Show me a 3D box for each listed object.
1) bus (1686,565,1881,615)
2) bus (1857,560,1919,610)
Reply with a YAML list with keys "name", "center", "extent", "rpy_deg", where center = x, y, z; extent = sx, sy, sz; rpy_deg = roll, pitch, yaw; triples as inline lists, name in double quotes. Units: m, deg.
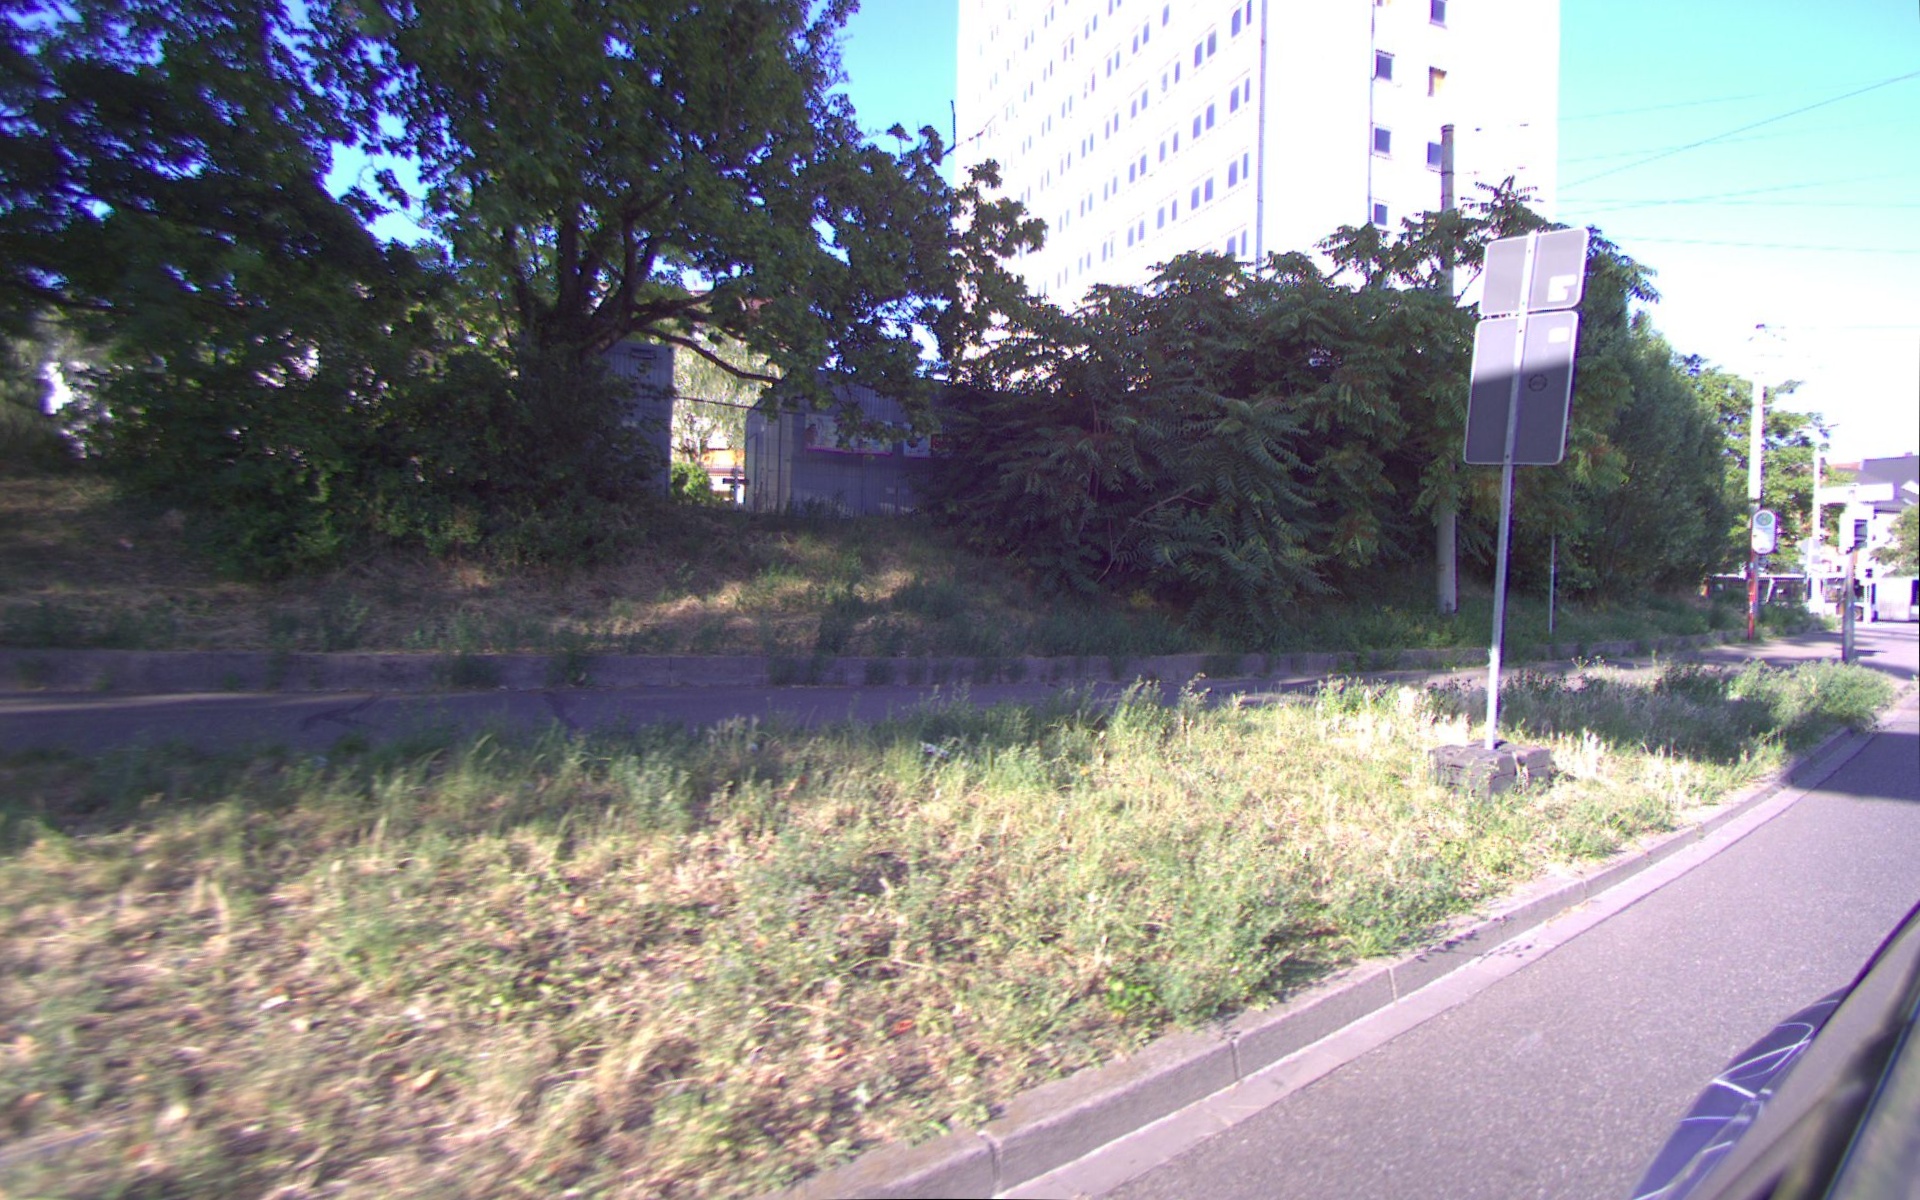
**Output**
- name: "bus"
  center: [53.753, -0.729, 66.468]
  extent: [9.483, 3.063, 2.590]
  rpy_deg: [1, 1, 27]
- name: "bus"
  center: [62.167, -0.860, 63.322]
  extent: [8.728, 3.063, 2.603]
  rpy_deg: [1, 0, 14]
